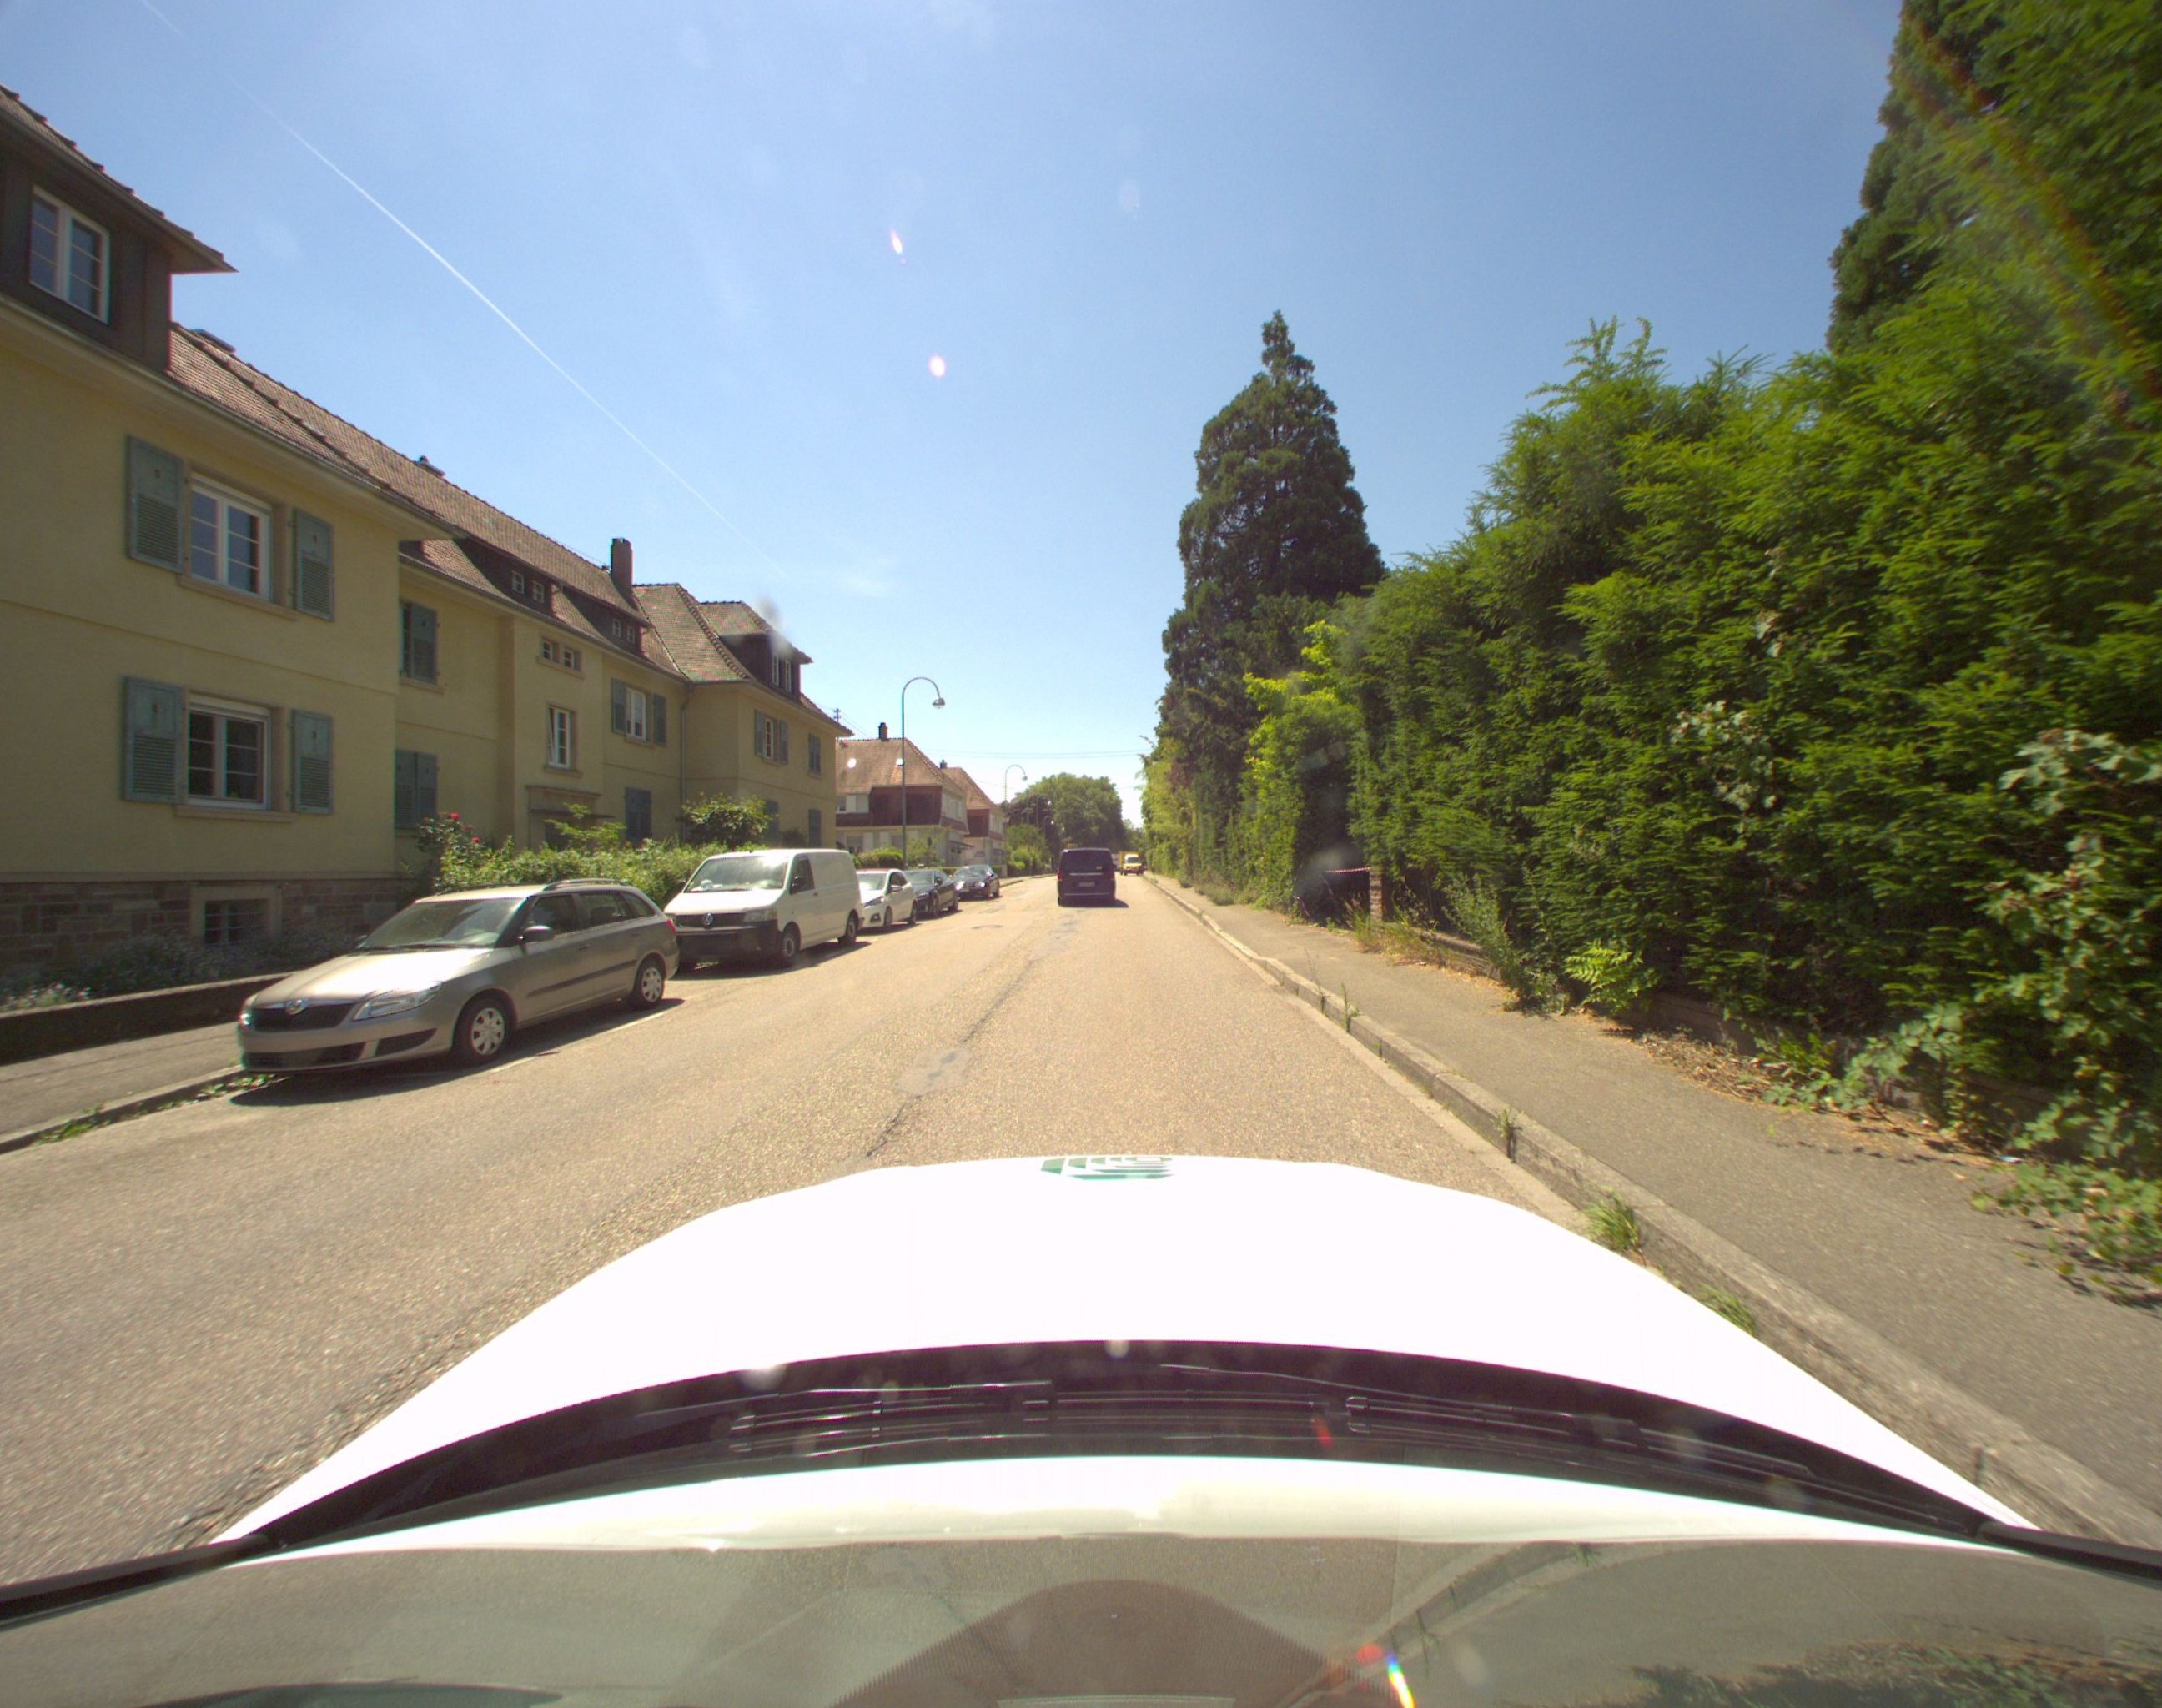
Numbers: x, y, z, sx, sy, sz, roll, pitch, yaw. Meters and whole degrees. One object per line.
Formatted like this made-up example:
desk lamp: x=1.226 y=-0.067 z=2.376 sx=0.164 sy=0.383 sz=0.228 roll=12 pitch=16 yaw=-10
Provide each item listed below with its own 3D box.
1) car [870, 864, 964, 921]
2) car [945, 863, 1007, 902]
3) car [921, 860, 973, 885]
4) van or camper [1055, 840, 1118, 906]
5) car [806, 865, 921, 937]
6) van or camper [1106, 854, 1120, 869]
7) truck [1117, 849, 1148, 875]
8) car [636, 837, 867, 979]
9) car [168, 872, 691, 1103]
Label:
car: x=-4.791 y=1.066 z=24.406 sx=1.659 sy=1.493 sz=4.469 roll=-1 pitch=0 yaw=3
car: x=-4.239 y=1.116 z=33.420 sx=1.659 sy=1.386 sz=4.383 roll=-3 pitch=0 yaw=3
car: x=-11.008 y=1.539 z=67.031 sx=3.852 sy=1.905 sz=1.881 roll=-2 pitch=-1 yaw=2
van or camper: x=0.280 y=0.622 z=27.785 sx=1.895 sy=2.014 sz=5.273 roll=0 pitch=-1 yaw=3
car: x=-5.140 y=1.056 z=19.704 sx=1.659 sy=1.493 sz=3.480 roll=-2 pitch=0 yaw=3
van or camper: x=4.648 y=1.062 z=117.122 sx=1.985 sy=2.014 sz=4.002 roll=-1 pitch=-1 yaw=3
truck: x=4.788 y=0.780 z=76.523 sx=2.349 sy=2.258 sz=6.088 roll=-1 pitch=-1 yaw=-1
car: x=-5.420 y=0.800 z=14.189 sx=1.871 sy=1.963 sz=4.628 roll=-4 pitch=-1 yaw=2
car: x=-5.779 y=1.030 z=8.023 sx=1.680 sy=1.525 sz=4.065 roll=-4 pitch=0 yaw=2
